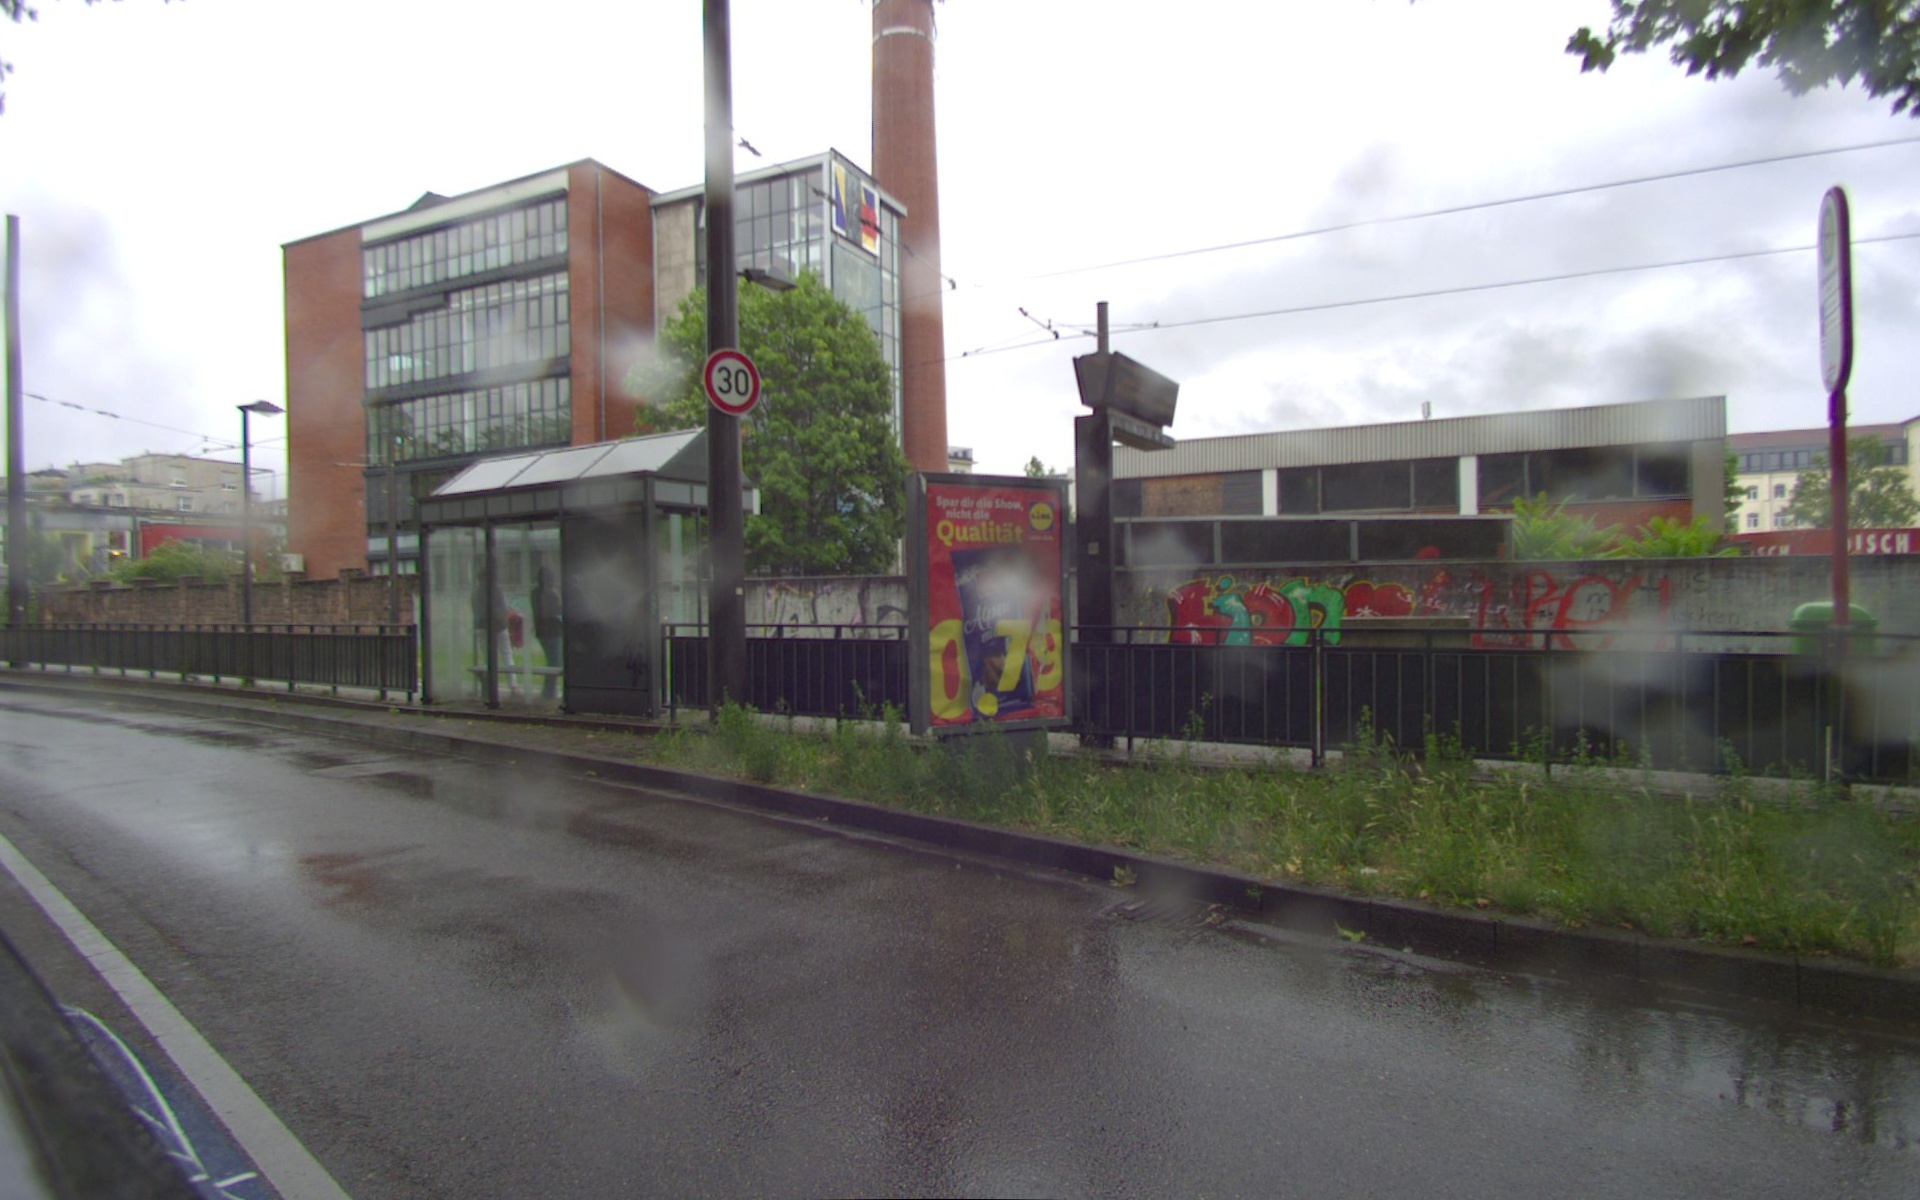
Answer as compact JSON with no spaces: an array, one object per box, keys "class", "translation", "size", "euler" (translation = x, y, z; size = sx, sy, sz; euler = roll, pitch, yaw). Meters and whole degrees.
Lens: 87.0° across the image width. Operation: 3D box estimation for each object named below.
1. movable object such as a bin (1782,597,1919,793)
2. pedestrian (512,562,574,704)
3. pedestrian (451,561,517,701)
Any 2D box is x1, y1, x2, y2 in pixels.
[{"class":"movable object such as a bin","translation":[5.259,0.541,5.967],"size":[0.528,1.098,0.414],"euler":[-1,-2,25]},{"class":"pedestrian","translation":[-5.239,0.406,12.743],"size":[0.560,1.744,0.583],"euler":[0,-2,-3]},{"class":"pedestrian","translation":[-6.065,0.397,12.917],"size":[0.560,1.744,0.583],"euler":[0,-2,-1]}]
